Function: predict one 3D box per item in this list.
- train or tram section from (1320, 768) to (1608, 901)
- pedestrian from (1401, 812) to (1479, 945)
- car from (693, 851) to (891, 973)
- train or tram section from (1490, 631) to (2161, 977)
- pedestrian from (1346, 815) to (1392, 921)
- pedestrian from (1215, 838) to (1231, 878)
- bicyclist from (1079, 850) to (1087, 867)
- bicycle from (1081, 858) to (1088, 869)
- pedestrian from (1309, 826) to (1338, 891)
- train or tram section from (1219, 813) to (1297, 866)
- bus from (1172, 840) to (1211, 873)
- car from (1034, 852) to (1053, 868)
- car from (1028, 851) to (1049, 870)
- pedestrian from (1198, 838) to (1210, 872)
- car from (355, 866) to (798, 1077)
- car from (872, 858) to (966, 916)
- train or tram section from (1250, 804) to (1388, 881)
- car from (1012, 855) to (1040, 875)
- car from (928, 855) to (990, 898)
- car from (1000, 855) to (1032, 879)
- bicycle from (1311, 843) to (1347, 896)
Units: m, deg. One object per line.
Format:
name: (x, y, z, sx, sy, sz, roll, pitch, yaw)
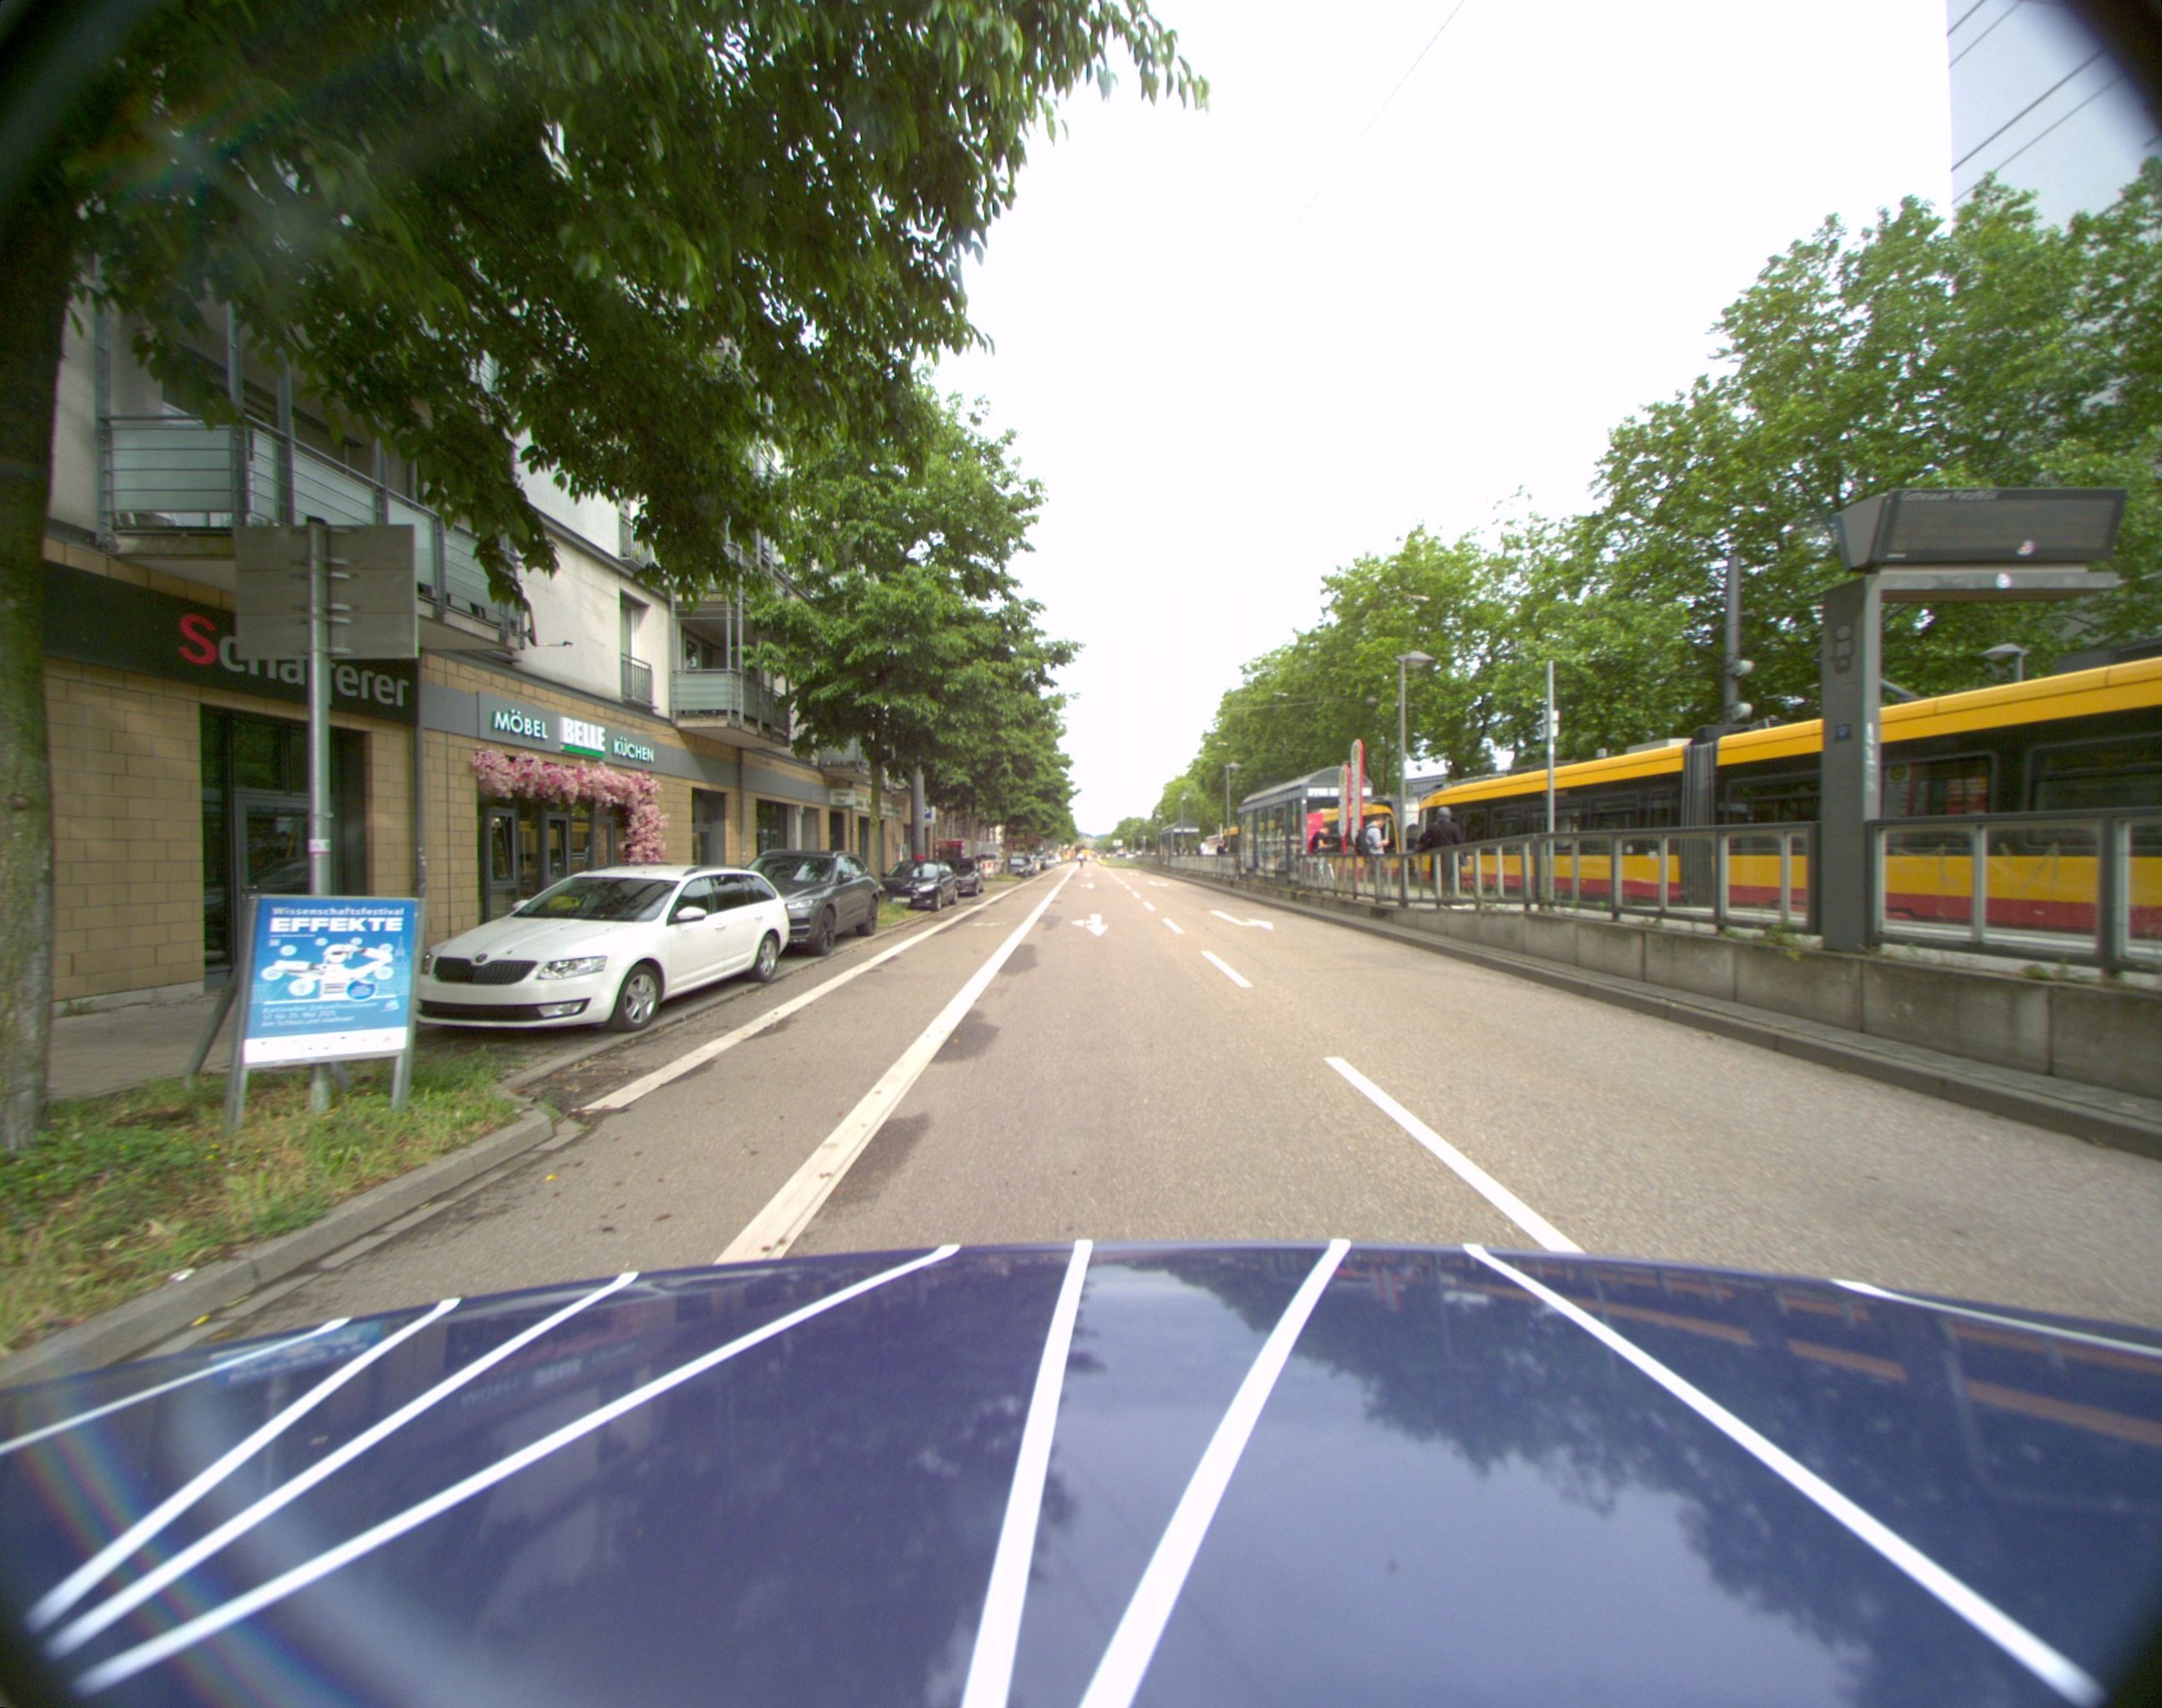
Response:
train or tram section: (12.788, -0.593, 28.232, 3.067, 3.511, 15.293, -2, 1, 1)
pedestrian: (5.674, 0.364, 12.019, 0.756, 2.002, 0.816, -3, 1, -36)
car: (-4.804, 0.832, 13.420, 1.716, 1.707, 4.710, 2, 1, -1)
train or tram section: (12.577, -0.606, 12.919, 3.067, 3.511, 15.293, -2, 1, 1)
pedestrian: (5.630, 0.270, 14.826, 0.753, 2.002, 0.819, -2, 1, 24)
pedestrian: (5.922, 0.150, 31.723, 0.513, 1.623, 0.730, -2, 1, 2)
bicyclist: (0.245, 0.514, 82.489, 0.751, 1.777, 0.838, -2, 1, 1)
bicycle: (0.374, 0.980, 82.045, 0.613, 1.116, 2.050, -2, 1, 1)
pedestrian: (6.180, 0.107, 19.339, 0.532, 1.623, 0.471, -2, 1, -2)
train or tram section: (13.193, -1.040, 57.909, 3.100, 3.541, 12.538, -2, 1, 1)
bus: (7.321, 0.138, 50.791, 1.998, 2.002, 4.000, -2, 1, 1)
car: (-4.089, 0.643, 83.247, 1.837, 1.686, 3.762, 1, 1, 0)
car: (-4.097, 0.601, 73.954, 1.837, 1.720, 4.279, 1, 1, 0)
pedestrian: (5.905, 0.056, 36.552, 0.480, 1.623, 0.392, -2, 1, 2)
car: (-4.771, 0.949, 8.130, 1.680, 1.490, 4.390, 2, 1, 2)
car: (-4.664, 0.886, 22.499, 1.680, 1.433, 4.408, 2, 1, 2)
train or tram section: (12.981, -0.611, 43.757, 3.067, 3.511, 15.770, -2, 1, 1)
car: (-4.156, 0.807, 57.615, 1.755, 1.452, 4.279, 1, 1, 0)
car: (-4.741, 0.826, 30.118, 1.802, 1.447, 4.387, 2, 1, -1)
car: (-4.358, 0.866, 51.648, 1.755, 1.452, 4.279, 1, 1, 0)
bicycle: (5.973, 0.349, 18.342, 0.420, 1.215, 1.289, -2, 1, 0)
